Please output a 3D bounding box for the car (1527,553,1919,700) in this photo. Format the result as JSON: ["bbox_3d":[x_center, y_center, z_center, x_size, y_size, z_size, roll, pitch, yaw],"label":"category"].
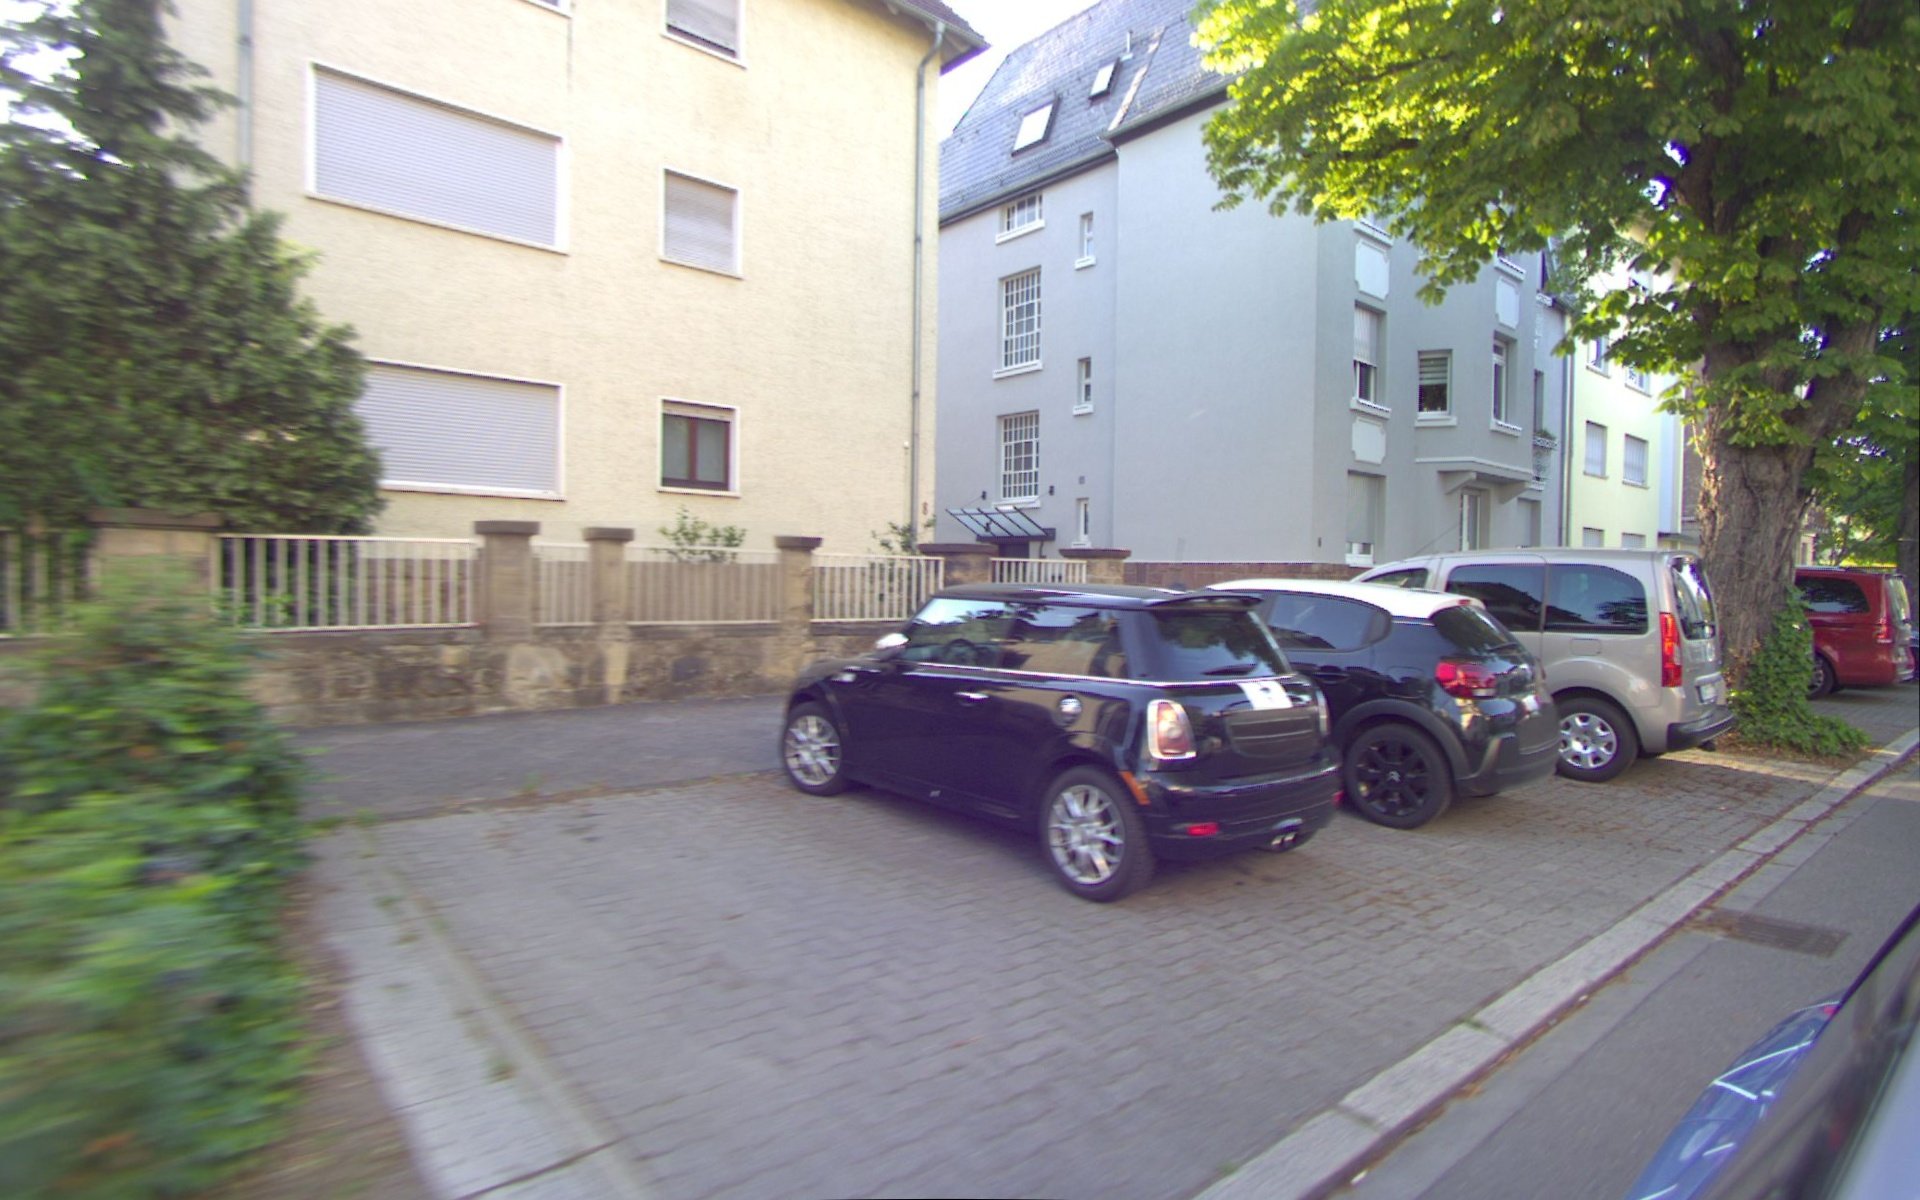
[{"bbox_3d":[11.937,0.261,15.980,1.915,1.960,4.819,0,2,-39],"label":"car"}]

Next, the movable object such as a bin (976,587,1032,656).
[{"bbox_3d":[0.729,0.345,16.800,0.678,1.076,0.606,0,3,-34],"label":"movable object such as a bin"}]

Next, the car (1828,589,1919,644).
[{"bbox_3d":[27.866,0.491,29.387,1.573,1.504,3.824,0,2,-40],"label":"car"}]

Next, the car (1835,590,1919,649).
[{"bbox_3d":[25.353,0.541,26.353,1.573,1.460,3.679,0,2,-40],"label":"car"}]

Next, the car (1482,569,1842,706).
[{"bbox_3d":[9.852,0.417,14.449,1.657,1.623,3.903,0,2,-40],"label":"car"}]

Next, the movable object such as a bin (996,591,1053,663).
[{"bbox_3d":[1.026,0.413,16.148,0.678,1.114,0.605,0,0,-34],"label":"movable object such as a bin"}]

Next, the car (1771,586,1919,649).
[{"bbox_3d":[23.146,0.425,25.752,1.573,1.460,3.679,0,2,-40],"label":"car"}]

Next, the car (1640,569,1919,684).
[{"bbox_3d":[14.510,0.363,17.484,1.758,1.726,4.212,0,2,-36],"label":"car"}]

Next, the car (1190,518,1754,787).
[{"bbox_3d":[4.446,0.280,9.340,1.729,1.908,4.306,-1,3,-43],"label":"car"}]

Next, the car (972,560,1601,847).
[{"bbox_3d":[2.209,0.512,7.803,1.729,1.560,4.306,0,2,-43],"label":"car"}]

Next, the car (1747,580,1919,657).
[{"bbox_3d":[19.599,0.370,21.985,1.646,1.516,3.679,0,2,-40],"label":"car"}]

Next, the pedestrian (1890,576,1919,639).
[{"bbox_3d":[31.665,0.243,33.650,0.964,2.039,0.998,0,1,-43],"label":"pedestrian"}]

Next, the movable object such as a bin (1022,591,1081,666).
[{"bbox_3d":[1.403,0.429,15.576,0.678,1.114,0.605,0,0,-34],"label":"movable object such as a bin"}]

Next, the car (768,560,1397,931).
[{"bbox_3d":[0.486,0.539,5.976,1.728,1.445,3.410,0,3,-40],"label":"car"}]

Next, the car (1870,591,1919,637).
[{"bbox_3d":[32.827,0.501,33.505,1.573,1.504,3.824,0,2,-40],"label":"car"}]

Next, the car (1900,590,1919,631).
[{"bbox_3d":[36.891,0.453,36.848,3.815,1.504,1.577,3,2,43],"label":"car"}]
